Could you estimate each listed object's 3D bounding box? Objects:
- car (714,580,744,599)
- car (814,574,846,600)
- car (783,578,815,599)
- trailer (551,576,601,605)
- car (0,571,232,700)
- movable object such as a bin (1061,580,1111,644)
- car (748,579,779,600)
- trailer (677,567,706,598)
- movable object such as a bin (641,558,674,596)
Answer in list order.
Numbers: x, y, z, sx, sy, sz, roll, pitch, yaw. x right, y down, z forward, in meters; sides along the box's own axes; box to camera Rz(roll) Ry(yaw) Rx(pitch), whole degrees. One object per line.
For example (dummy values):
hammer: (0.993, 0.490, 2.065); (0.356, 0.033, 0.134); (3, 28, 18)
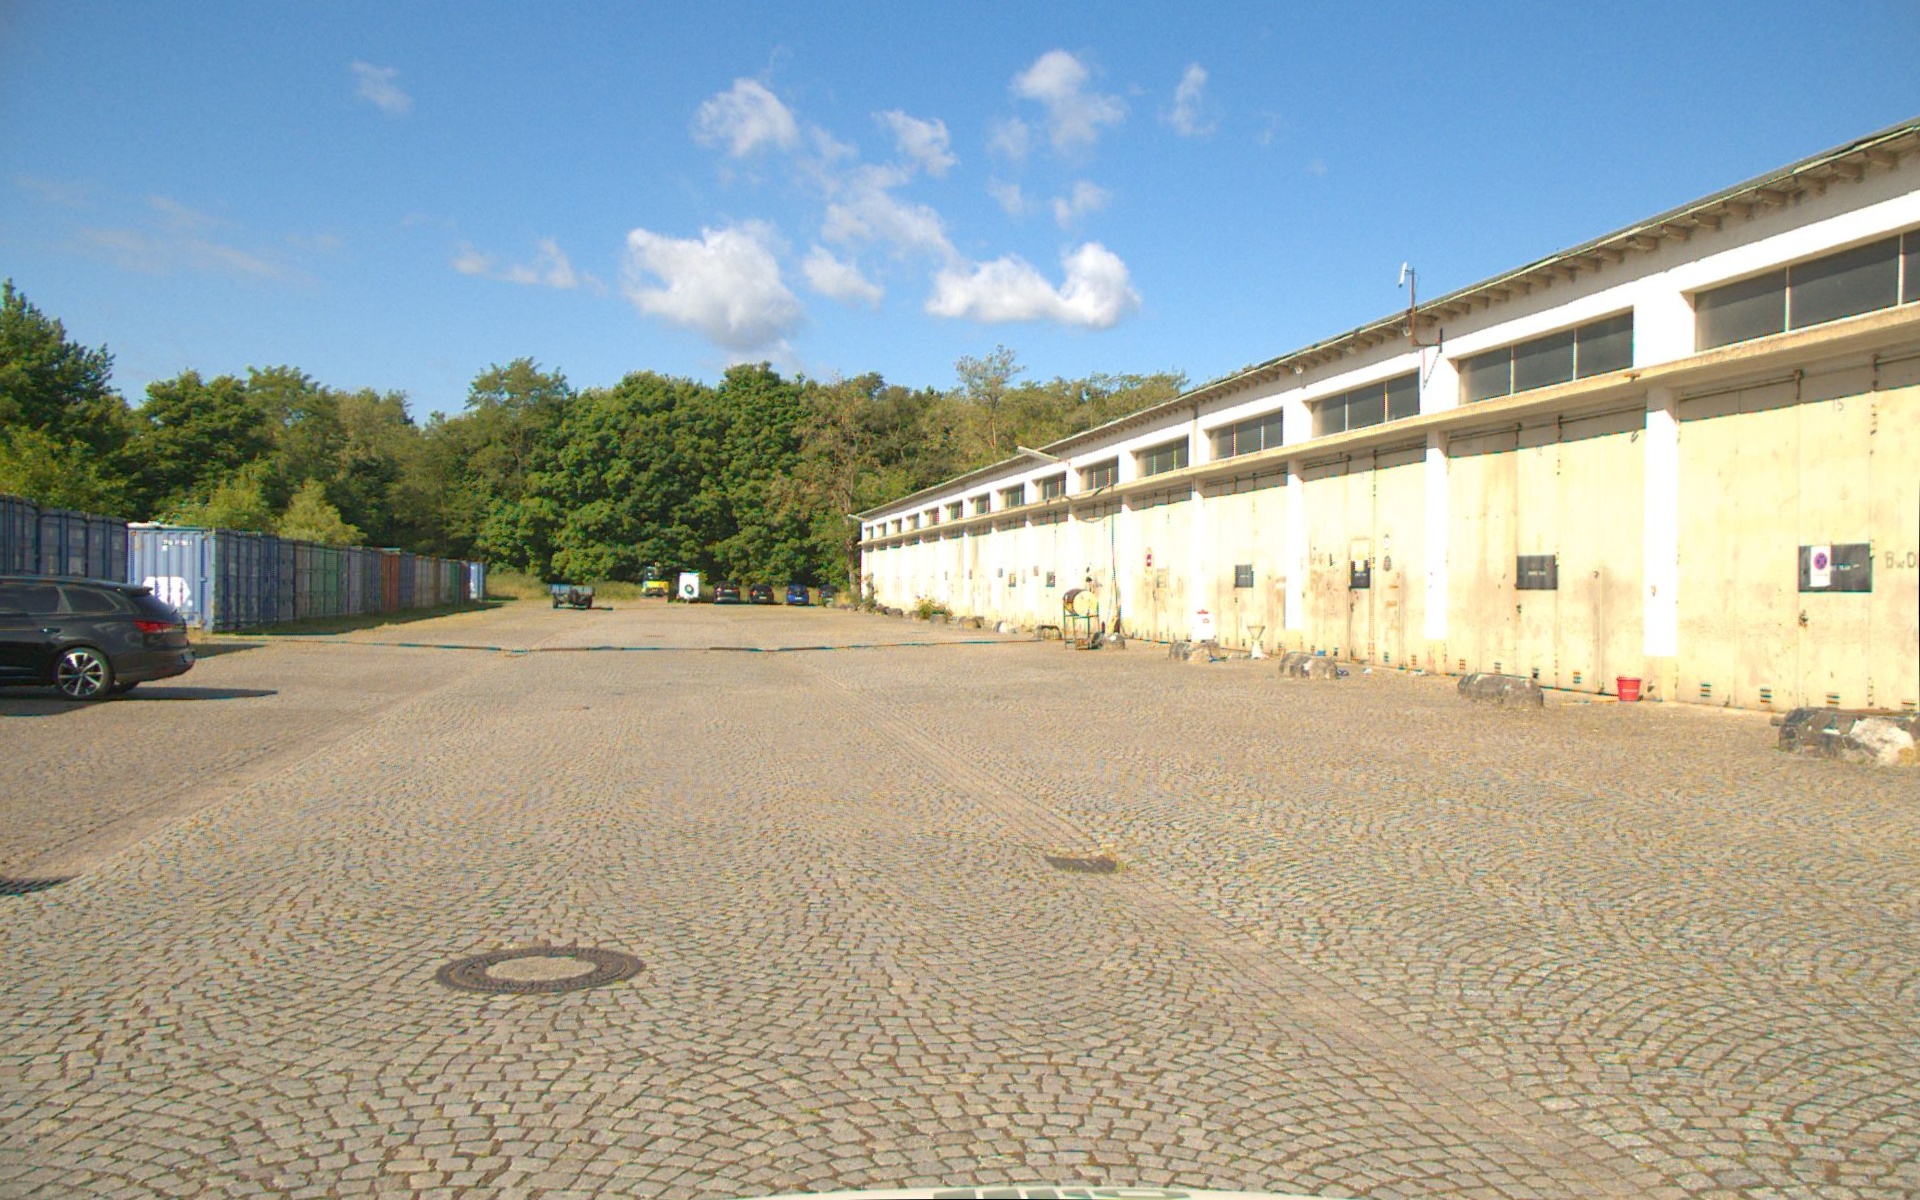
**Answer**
car: (-16.508, -0.754, 118.095); (1.957, 1.280, 3.990); (0, 1, -10)
car: (-9.561, -0.960, 121.024); (1.957, 1.803, 3.990); (0, 1, -10)
car: (-11.628, -0.823, 119.375); (1.957, 1.491, 3.990); (0, 1, -10)
trailer: (-23.013, -0.583, 99.300); (2.741, 1.675, 5.606); (0, 1, -11)
car: (-11.433, 0.393, 20.163); (4.339, 1.490, 1.993); (1, 0, -14)
movable object such as a bin: (2.831, 0.256, 37.295); (0.859, 1.426, 1.098); (0, 0, -11)
car: (-14.132, -0.784, 118.918); (1.957, 1.449, 3.990); (0, 1, -10)
trailer: (-19.297, -1.253, 118.822); (1.958, 2.200, 4.421); (0, 1, -11)
movable object such as a bin: (-21.805, -1.656, 119.118); (2.193, 2.703, 3.988); (0, 1, -12)
